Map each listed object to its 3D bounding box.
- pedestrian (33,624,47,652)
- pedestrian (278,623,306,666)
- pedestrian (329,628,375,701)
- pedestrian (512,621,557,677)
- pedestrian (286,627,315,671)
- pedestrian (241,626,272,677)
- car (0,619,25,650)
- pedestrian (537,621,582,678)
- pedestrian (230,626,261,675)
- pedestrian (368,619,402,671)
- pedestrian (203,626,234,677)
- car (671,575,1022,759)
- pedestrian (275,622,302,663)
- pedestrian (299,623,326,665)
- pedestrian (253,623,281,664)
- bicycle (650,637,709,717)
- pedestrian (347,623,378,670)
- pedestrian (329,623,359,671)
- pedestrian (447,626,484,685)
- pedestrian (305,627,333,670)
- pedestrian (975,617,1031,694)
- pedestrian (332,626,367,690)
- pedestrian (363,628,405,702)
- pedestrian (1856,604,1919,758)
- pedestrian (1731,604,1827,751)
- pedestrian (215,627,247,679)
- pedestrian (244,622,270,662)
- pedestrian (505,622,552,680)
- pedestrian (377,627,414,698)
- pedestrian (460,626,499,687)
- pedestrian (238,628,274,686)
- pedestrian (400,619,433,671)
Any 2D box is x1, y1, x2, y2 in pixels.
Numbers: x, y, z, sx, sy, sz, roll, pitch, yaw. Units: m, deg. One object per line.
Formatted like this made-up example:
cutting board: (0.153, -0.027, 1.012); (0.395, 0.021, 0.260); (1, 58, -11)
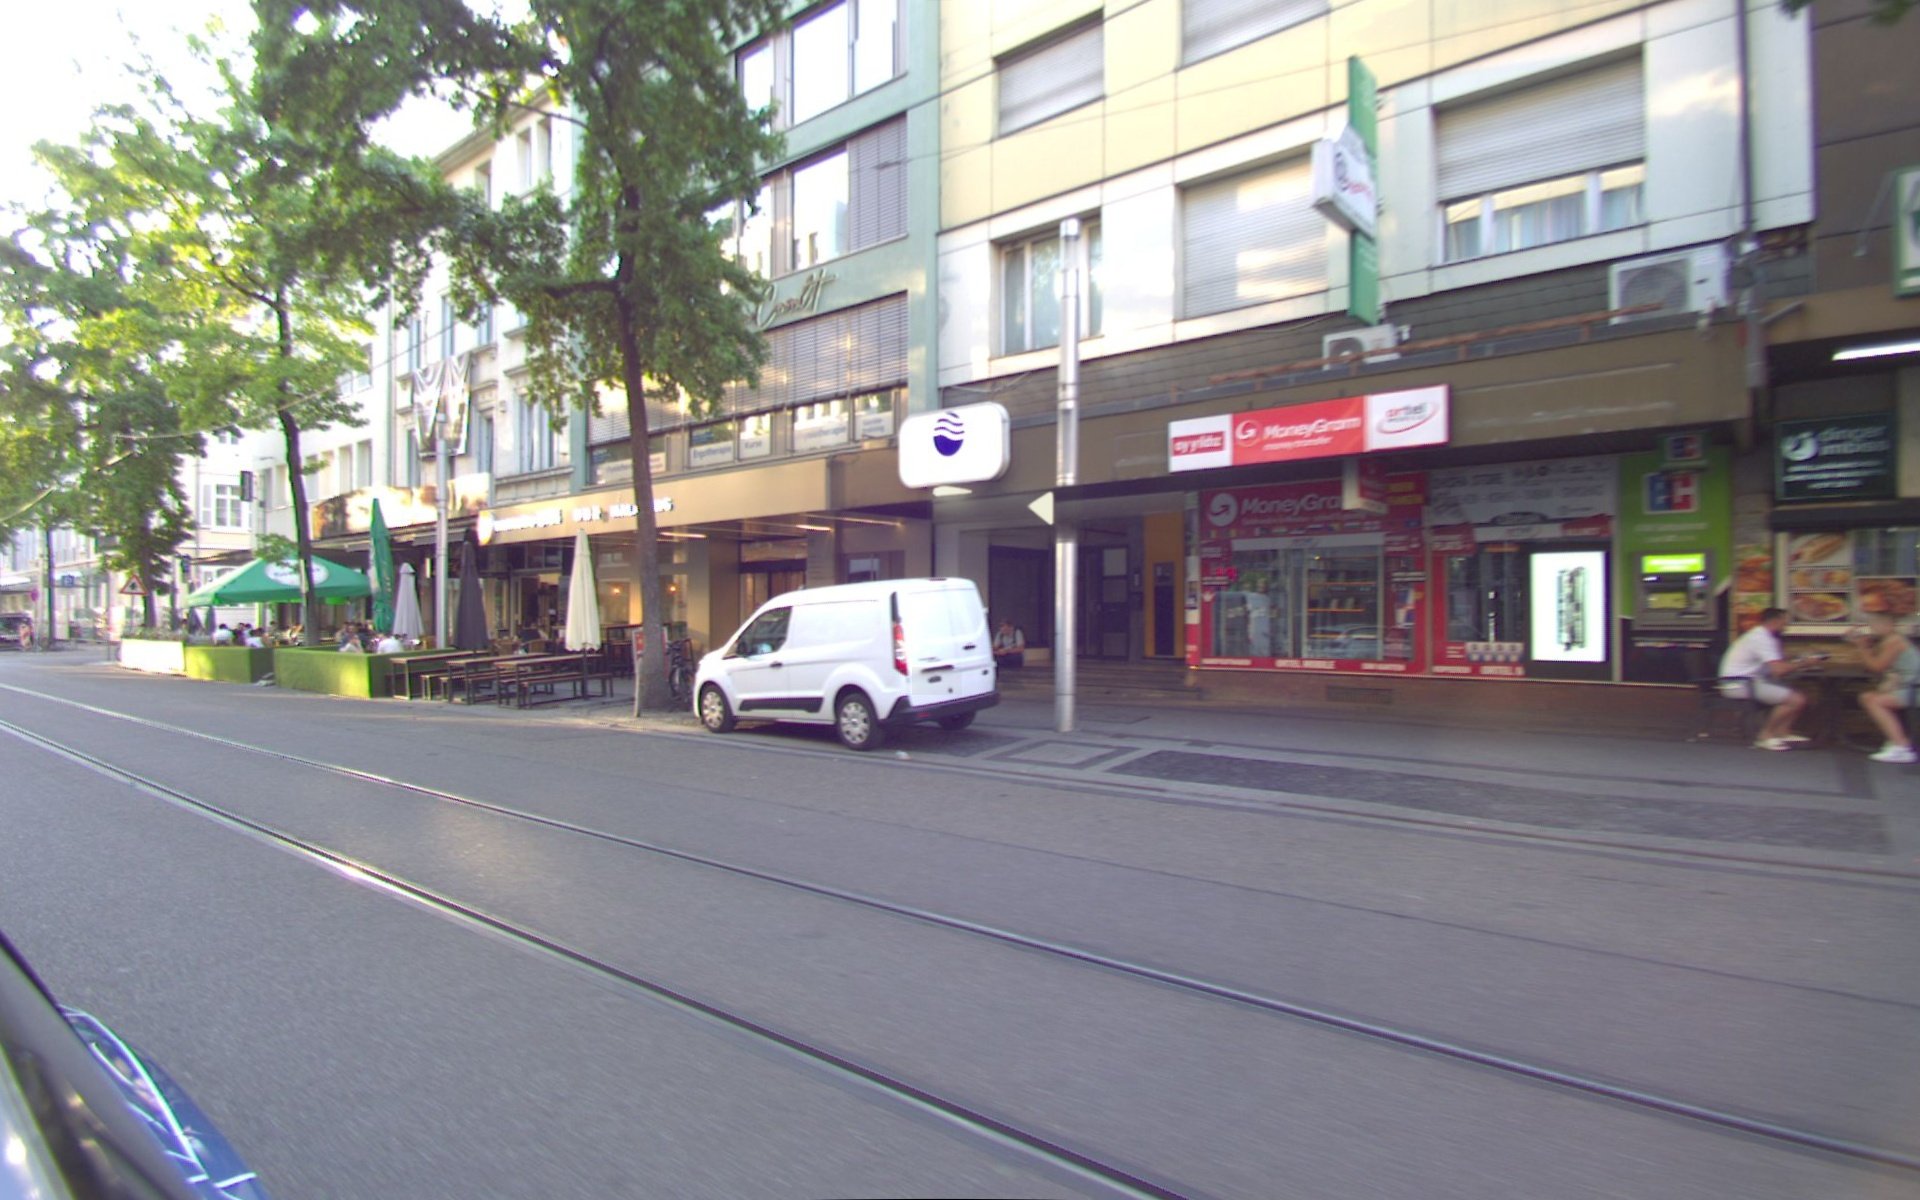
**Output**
pedestrian: (-49.978, 2.051, 54.962); (0.543, 1.471, 0.484); (-1, -2, 38)
pedestrian: (-23.191, 1.542, 35.137); (0.649, 1.471, 0.642); (-1, -1, 37)
pedestrian: (-12.618, 1.314, 20.994); (0.650, 1.471, 0.641); (-1, -2, 41)
pedestrian: (-10.340, 1.174, 24.586); (0.785, 1.326, 0.693); (-1, -1, 36)
pedestrian: (-22.489, 1.677, 34.515); (0.649, 1.471, 0.642); (-1, -1, 37)
pedestrian: (-19.707, 1.438, 28.348); (0.640, 1.396, 0.651); (1, -2, -43)
car: (-49.151, 1.757, 51.572); (3.997, 1.522, 1.776); (-1, -2, 41)
pedestrian: (-9.523, 1.165, 24.069); (0.785, 1.326, 0.693); (-1, -1, 36)
pedestrian: (-20.595, 1.449, 29.174); (0.640, 1.396, 0.651); (1, -2, -43)
pedestrian: (-16.783, 1.303, 29.544); (0.649, 1.471, 0.642); (-1, -1, 37)
pedestrian: (-21.048, 1.453, 28.716); (0.640, 1.396, 0.651); (1, -2, -43)
car: (-1.527, 0.704, 12.433); (4.328, 1.835, 1.807); (-1, 1, 42)
pedestrian: (-24.542, 1.560, 36.998); (0.649, 1.471, 0.642); (-1, -2, 38)
pedestrian: (-22.871, 1.540, 35.740); (0.649, 1.471, 0.642); (-1, -2, 38)
pedestrian: (-24.940, 1.563, 36.425); (0.649, 1.471, 0.642); (-1, -2, 38)
bicycle: (-4.322, 1.160, 15.691); (0.493, 1.116, 1.801); (0, -1, -3)
pedestrian: (-19.038, 1.472, 32.259); (0.649, 1.471, 0.642); (-1, -1, 37)
pedestrian: (-19.450, 1.476, 31.954); (0.649, 1.471, 0.642); (-1, -1, 37)
pedestrian: (-12.623, 1.399, 25.851); (0.649, 1.471, 0.642); (-1, -2, 38)
pedestrian: (-22.151, 1.674, 34.975); (0.649, 1.471, 0.642); (-1, -1, 37)
pedestrian: (0.686, 0.876, 16.189); (0.648, 1.184, 0.642); (-1, 0, 35)
pedestrian: (-14.268, 1.336, 23.647); (0.639, 1.471, 0.651); (0, -1, -37)
pedestrian: (-11.720, 1.304, 20.605); (0.639, 1.471, 0.652); (0, -1, -20)
pedestrian: (8.138, 0.674, 8.654); (0.665, 1.237, 0.635); (0, 4, 38)
pedestrian: (7.502, 0.682, 9.297); (0.665, 1.237, 0.635); (0, 4, 38)
pedestrian: (-20.101, 1.441, 27.914); (0.640, 1.396, 0.651); (1, -2, -43)
pedestrian: (-26.228, 1.544, 37.747); (0.649, 1.471, 0.642); (-1, -2, 38)
pedestrian: (-10.026, 1.169, 23.516); (0.785, 1.326, 0.693); (-1, -1, 36)
pedestrian: (-12.000, 1.309, 21.499); (0.639, 1.471, 0.652); (0, -1, -33)
pedestrian: (-11.951, 1.391, 25.164); (0.648, 1.471, 0.643); (-1, -1, 31)
pedestrian: (-17.421, 1.408, 25.052); (0.640, 1.396, 0.651); (1, -2, -43)
pedestrian: (-15.762, 1.292, 29.344); (0.649, 1.471, 0.642); (-1, -1, 37)
